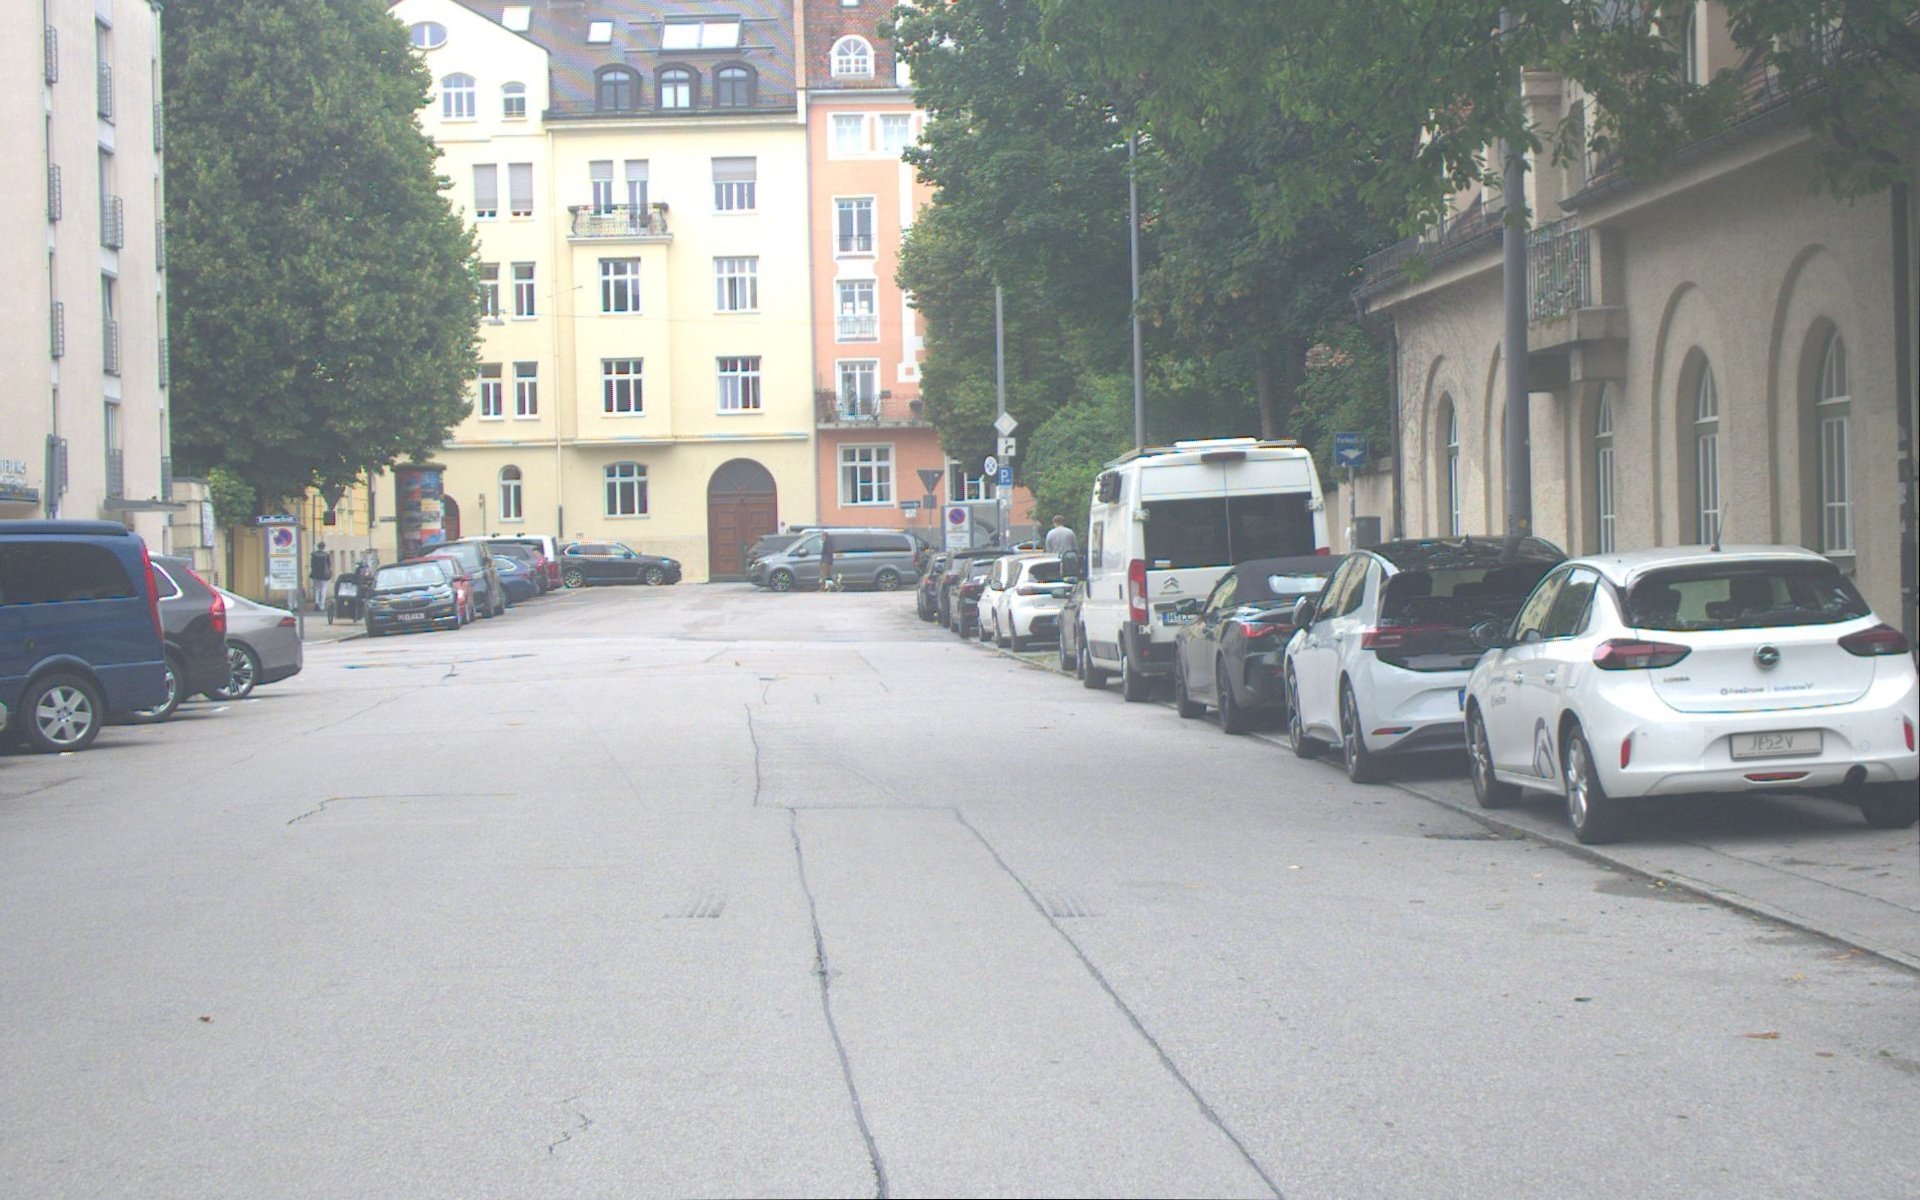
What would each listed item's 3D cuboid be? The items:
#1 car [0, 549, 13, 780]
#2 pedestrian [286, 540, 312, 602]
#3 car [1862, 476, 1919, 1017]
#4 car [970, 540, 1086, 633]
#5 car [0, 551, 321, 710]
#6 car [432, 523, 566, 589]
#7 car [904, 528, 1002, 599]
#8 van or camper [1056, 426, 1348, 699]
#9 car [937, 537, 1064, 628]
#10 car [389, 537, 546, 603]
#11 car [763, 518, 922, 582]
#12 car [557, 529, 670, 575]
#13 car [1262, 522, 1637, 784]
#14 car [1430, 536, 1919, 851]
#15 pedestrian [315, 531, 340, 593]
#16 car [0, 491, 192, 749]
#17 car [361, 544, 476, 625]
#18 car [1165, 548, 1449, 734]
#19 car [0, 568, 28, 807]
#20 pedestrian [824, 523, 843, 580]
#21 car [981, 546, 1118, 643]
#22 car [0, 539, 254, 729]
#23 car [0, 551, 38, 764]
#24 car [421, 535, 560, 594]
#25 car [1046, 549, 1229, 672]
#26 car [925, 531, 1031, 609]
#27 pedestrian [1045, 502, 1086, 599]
[{"bbox_3d":[-8.869,0.554,23.620,4.204,1.604,1.737,-3,2,-28],"label":"car"},{"bbox_3d":[-17.592,-0.771,91.526,0.571,1.651,0.465,-1,1,-2],"label":"pedestrian"},{"bbox_3d":[4.193,0.456,8.800,1.993,1.705,4.886,-3,1,-6],"label":"car"},{"bbox_3d":[1.144,-0.258,59.410,1.707,1.461,3.838,-3,1,-2],"label":"car"},{"bbox_3d":[-9.729,0.335,39.992,4.107,1.604,1.737,-4,2,-35],"label":"car"},{"bbox_3d":[-14.766,-1.425,110.292,3.986,1.793,1.840,-4,1,-3],"label":"car"},{"bbox_3d":[-0.180,-0.806,74.008,1.670,1.339,3.839,-3,3,-6],"label":"car"},{"bbox_3d":[2.430,-0.419,36.133,2.192,2.541,5.729,-3,1,-4],"label":"van or camper"},{"bbox_3d":[0.715,-0.351,63.687,1.803,1.461,3.839,-3,3,-7],"label":"car"},{"bbox_3d":[-13.390,-0.825,93.591,3.986,1.503,1.840,-4,1,-3],"label":"car"},{"bbox_3d":[-3.576,-1.518,104.070,4.703,1.874,1.840,-1,1,-4],"label":"car"},{"bbox_3d":[-12.710,-1.780,126.167,3.986,1.581,1.703,-1,1,-2],"label":"car"},{"bbox_3d":[3.235,0.285,23.506,1.707,1.532,4.240,-3,1,-2],"label":"car"},{"bbox_3d":[3.735,0.421,18.384,1.685,1.436,4.000,-2,1,-2],"label":"car"},{"bbox_3d":[-16.866,-1.013,91.627,0.571,1.651,0.465,-1,1,-2],"label":"pedestrian"},{"bbox_3d":[-8.779,0.220,28.654,4.204,2.059,1.737,-3,2,-32],"label":"car"},{"bbox_3d":[-11.222,-0.348,71.524,1.834,1.503,4.001,-4,1,-3],"label":"car"},{"bbox_3d":[2.867,0.287,29.291,1.707,1.364,4.441,-3,1,-3],"label":"car"},{"bbox_3d":[-8.037,0.640,21.080,4.203,1.456,1.738,-3,1,-24],"label":"car"},{"bbox_3d":[-3.674,-1.404,100.065,0.463,1.651,0.573,-1,1,-8],"label":"pedestrian"},{"bbox_3d":[1.379,-0.117,54.475,1.707,1.403,4.131,-3,1,-4],"label":"car"},{"bbox_3d":[-9.247,0.355,33.787,4.107,1.702,1.737,-4,2,-33],"label":"car"},{"bbox_3d":[-9.310,0.542,25.840,4.204,1.604,1.737,-3,2,-32],"label":"car"},{"bbox_3d":[-14.383,-1.095,105.520,3.986,1.503,1.840,-4,1,-3],"label":"car"},{"bbox_3d":[2.140,0.090,42.543,1.707,1.364,4.131,-3,1,-4],"label":"car"},{"bbox_3d":[0.341,-0.624,69.108,1.670,1.339,3.839,-3,3,-6],"label":"car"},{"bbox_3d":[2.182,-1.034,71.443,0.773,2.007,0.563,-1,1,-3],"label":"pedestrian"}]
